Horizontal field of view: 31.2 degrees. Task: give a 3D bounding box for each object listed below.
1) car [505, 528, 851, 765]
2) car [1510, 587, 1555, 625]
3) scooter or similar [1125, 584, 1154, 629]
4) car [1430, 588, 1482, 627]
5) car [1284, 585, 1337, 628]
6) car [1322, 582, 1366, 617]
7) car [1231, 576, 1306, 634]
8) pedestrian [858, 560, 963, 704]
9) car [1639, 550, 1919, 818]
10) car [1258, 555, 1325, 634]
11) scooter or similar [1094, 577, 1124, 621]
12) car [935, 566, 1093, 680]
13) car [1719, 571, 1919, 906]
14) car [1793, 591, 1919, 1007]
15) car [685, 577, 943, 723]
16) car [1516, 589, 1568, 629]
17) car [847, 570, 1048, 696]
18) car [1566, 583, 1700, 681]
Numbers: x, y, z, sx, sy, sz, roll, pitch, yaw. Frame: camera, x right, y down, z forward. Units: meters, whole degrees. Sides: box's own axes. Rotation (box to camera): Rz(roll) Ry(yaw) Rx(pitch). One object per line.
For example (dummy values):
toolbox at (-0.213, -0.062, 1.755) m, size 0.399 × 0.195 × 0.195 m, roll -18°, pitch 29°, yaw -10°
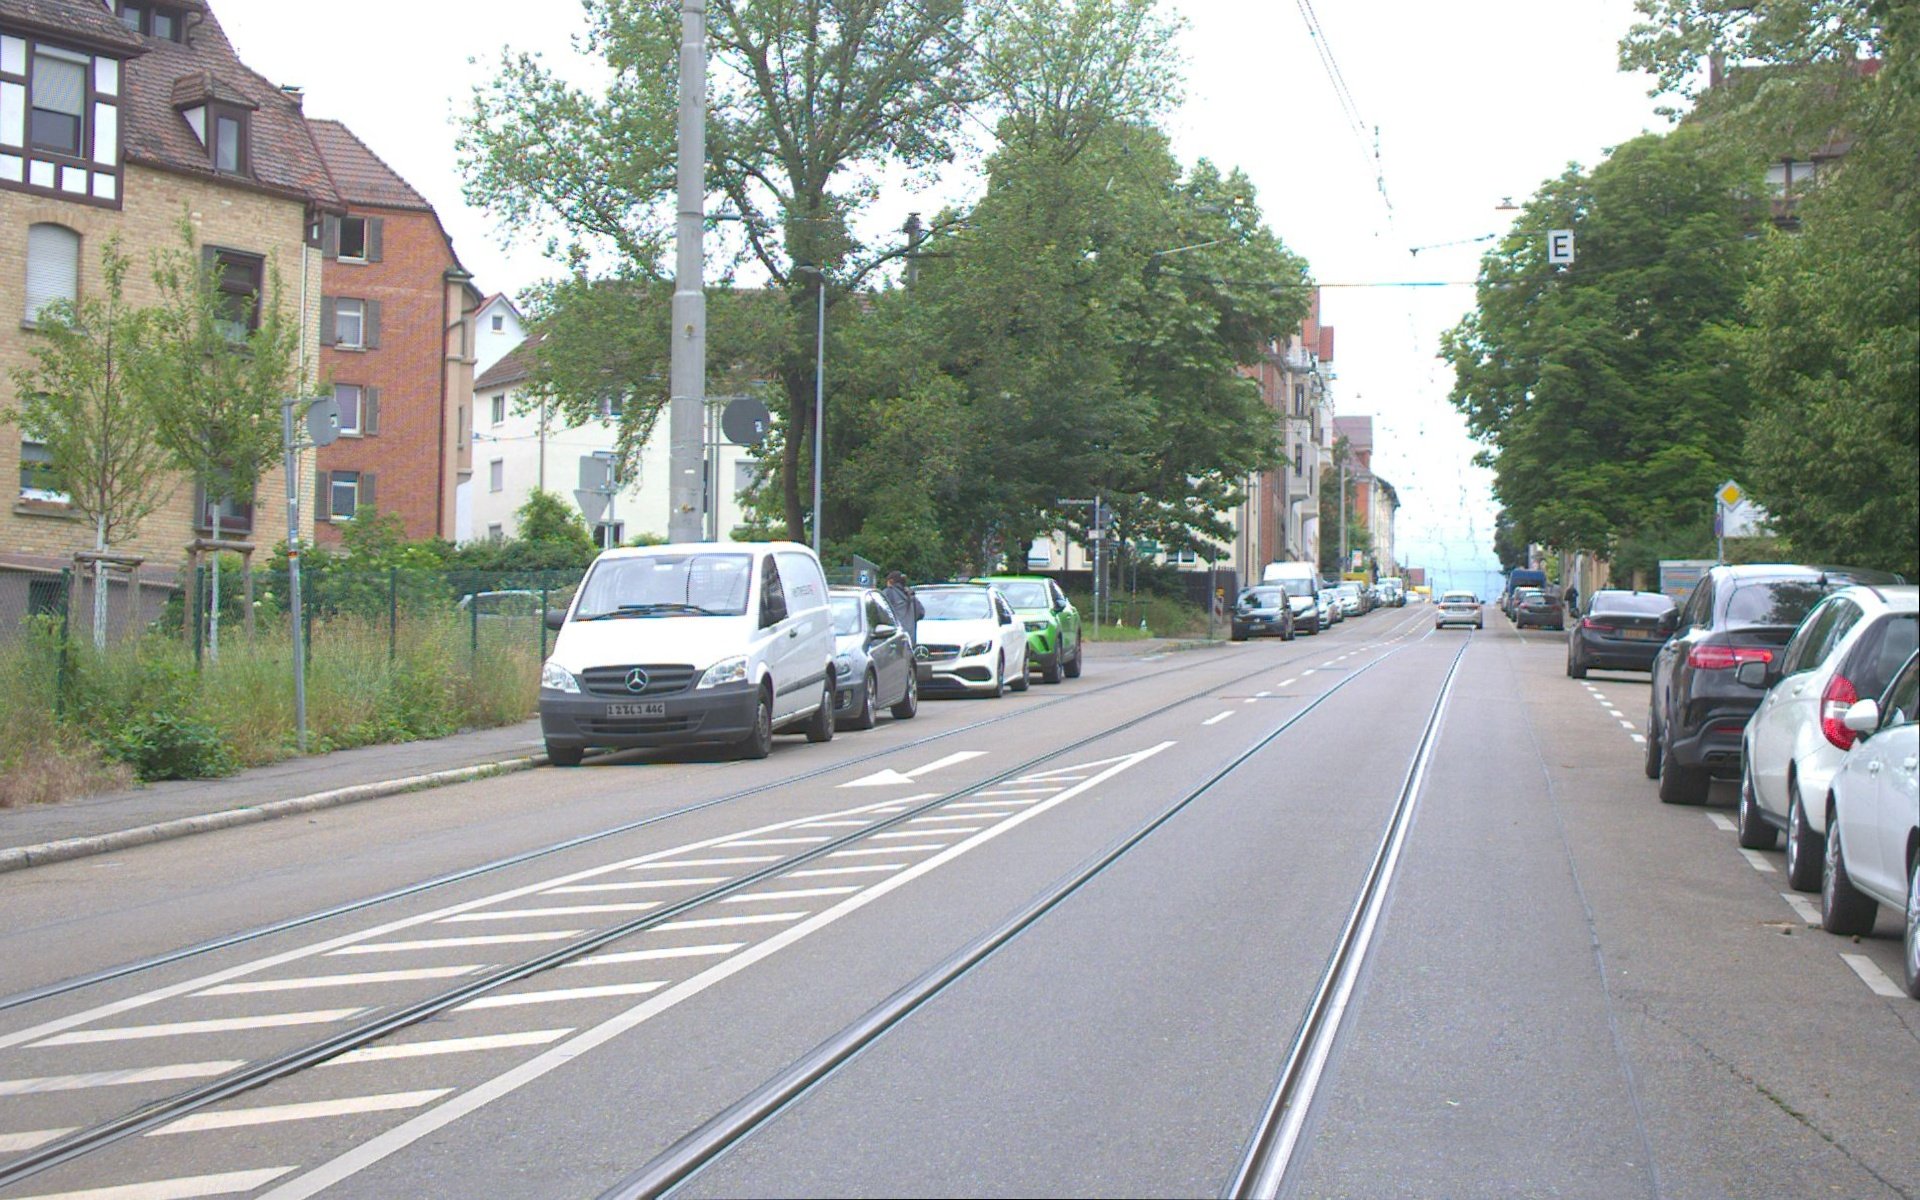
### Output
car at (-2.397, 0.408, 30.615) m, size 2.036 × 1.875 × 4.883 m, roll -2°, pitch -1°, yaw 7°
car at (26.216, 0.278, 157.446) m, size 1.994 × 1.711 × 3.998 m, roll 0°, pitch -1°, yaw 9°
scooter or similar at (5.517, 0.203, 105.666) m, size 0.691 × 1.334 × 1.638 m, roll 1°, pitch -1°, yaw 10°
car at (19.557, 0.304, 135.470) m, size 1.994 × 1.493 × 4.310 m, roll 1°, pitch 0°, yaw 8°
car at (13.731, 0.278, 134.464) m, size 1.994 × 1.595 × 4.311 m, roll 1°, pitch 0°, yaw 7°
car at (18.726, -0.022, 167.601) m, size 1.925 × 1.596 × 3.998 m, roll 1°, pitch 0°, yaw 9°
car at (9.885, 0.179, 109.967) m, size 1.994 × 1.802 × 3.998 m, roll 1°, pitch 0°, yaw 10°
pedestrian at (-0.567, 0.368, 39.421) m, size 0.805 × 1.623 × 0.916 m, roll 2°, pitch -1°, yaw -34°
car at (6.024, 0.540, 25.003) m, size 1.878 × 1.672 × 5.061 m, roll 3°, pitch 1°, yaw 9°
car at (12.014, -0.170, 124.299) m, size 2.231 × 2.755 × 5.798 m, roll 1°, pitch 0°, yaw 7°
scooter or similar at (4.592, -0.028, 105.895) m, size 0.691 × 1.334 × 1.638 m, roll 1°, pitch -1°, yaw 10°
car at (0.829, 0.323, 50.068) m, size 1.724 × 1.574 × 4.179 m, roll -1°, pitch 0°, yaw 9°
car at (5.334, 0.715, 19.071) m, size 1.727 × 1.626 × 4.087 m, roll 4°, pitch 1°, yaw 7°
car at (4.568, 0.766, 14.241) m, size 1.630 × 1.511 × 4.063 m, roll 3°, pitch 1°, yaw 7°
car at (-1.468, 0.487, 36.448) m, size 1.897 × 1.428 × 4.510 m, roll -1°, pitch 0°, yaw 9°
car at (23.230, 0.387, 137.089) m, size 1.994 × 1.525 × 4.310 m, roll 1°, pitch 0°, yaw 10°
car at (-0.093, 0.415, 44.484) m, size 1.885 × 1.521 × 4.661 m, roll -1°, pitch 0°, yaw 9°
car at (10.721, 0.499, 55.010) m, size 1.829 × 1.425 × 4.845 m, roll 3°, pitch 0°, yaw 8°
